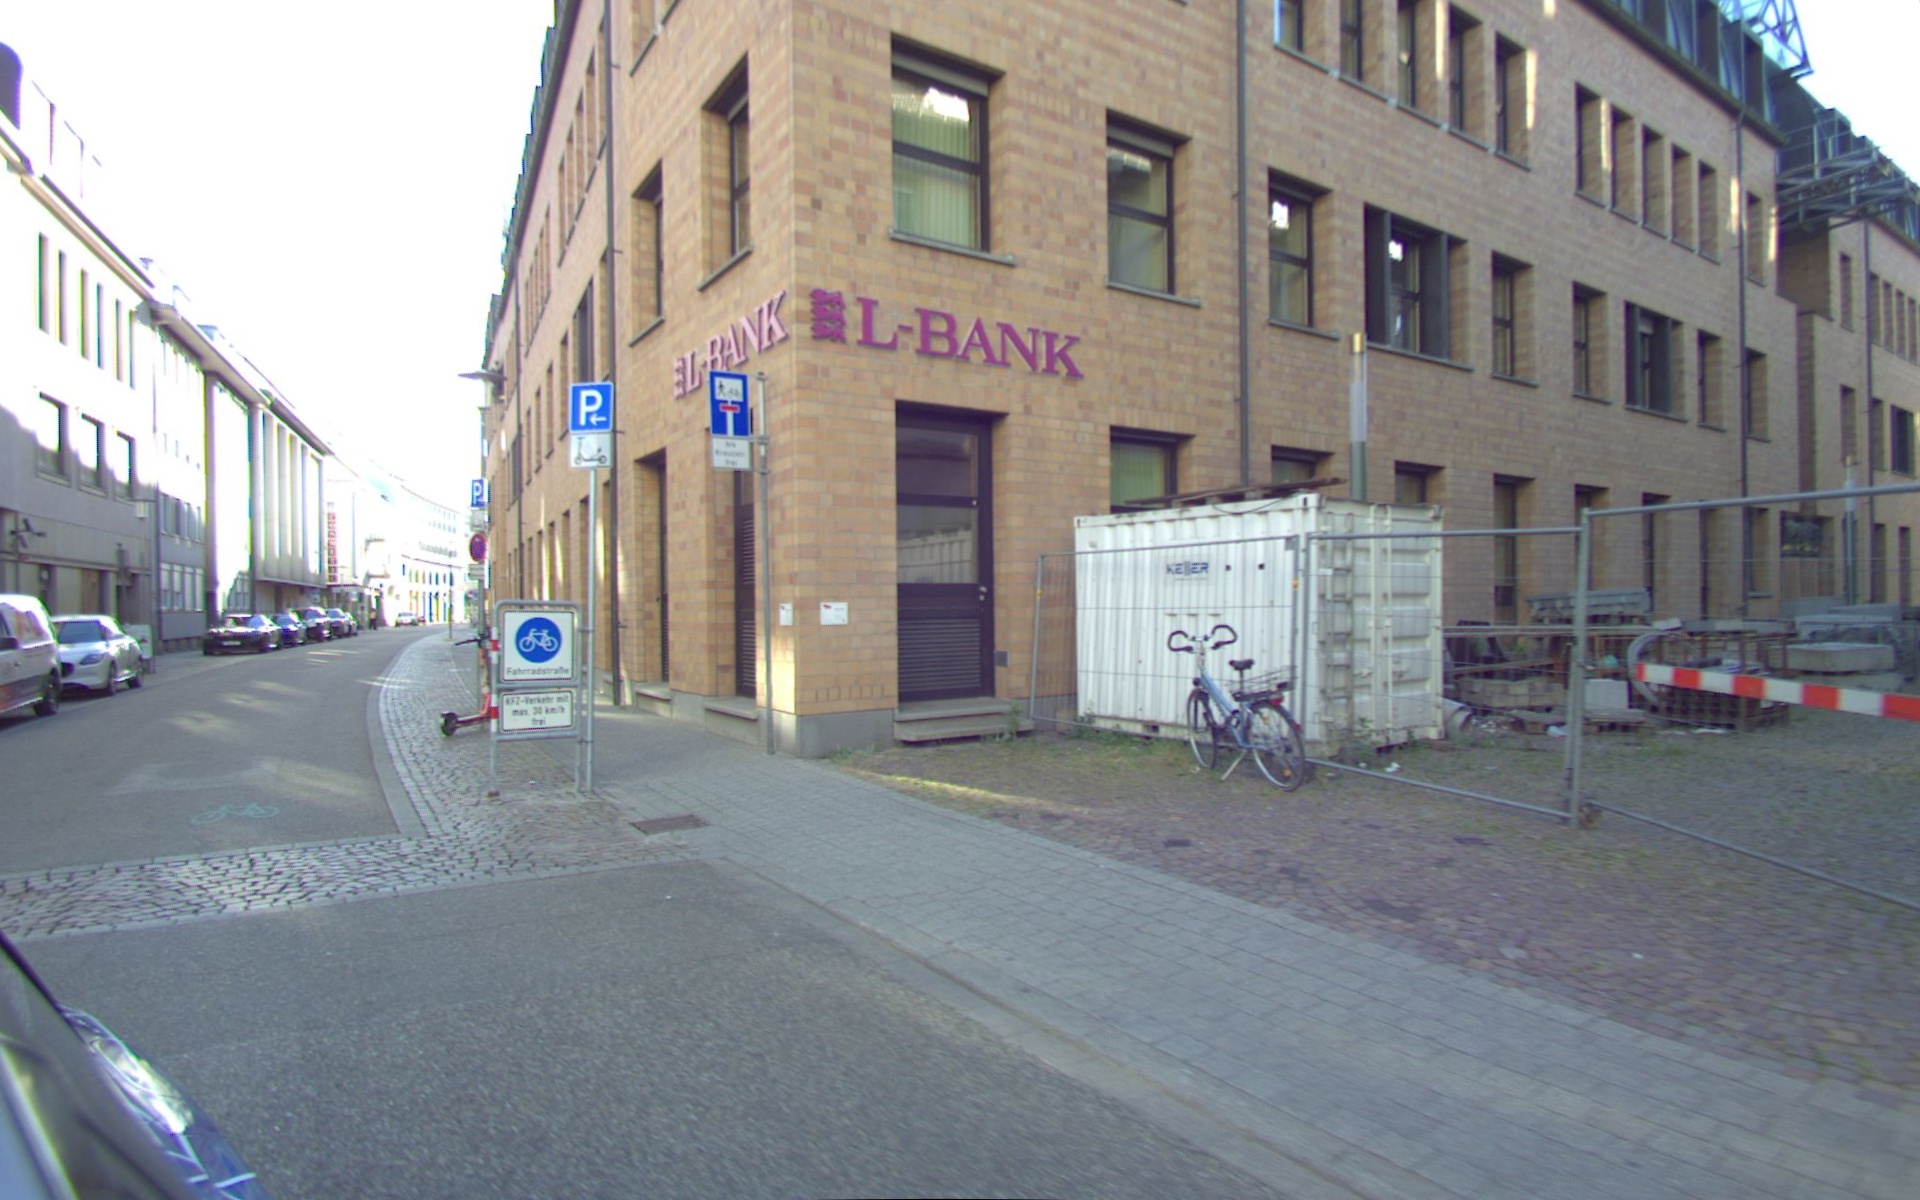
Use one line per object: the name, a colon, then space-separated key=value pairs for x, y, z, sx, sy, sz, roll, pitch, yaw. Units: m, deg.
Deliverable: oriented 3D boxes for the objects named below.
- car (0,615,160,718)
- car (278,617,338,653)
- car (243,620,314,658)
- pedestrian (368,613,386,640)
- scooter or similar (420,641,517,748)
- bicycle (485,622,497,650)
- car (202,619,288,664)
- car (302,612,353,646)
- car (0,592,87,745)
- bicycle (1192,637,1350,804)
car: x=-16.367 y=1.141 z=18.738 sx=1.747 sy=1.595 sz=3.868 roll=-5 pitch=2 yaw=-29
car: x=-31.184 y=1.635 z=48.517 sx=1.933 sy=1.547 sz=4.210 roll=-2 pitch=0 yaw=-26
car: x=-28.835 y=1.618 z=42.966 sx=1.933 sy=1.418 sz=4.210 roll=-2 pitch=0 yaw=-26
pedestrian: x=-44.632 y=2.031 z=77.441 sx=0.900 sy=2.029 sz=0.931 roll=-1 pitch=-1 yaw=43
scooter or similar: x=-6.040 y=1.132 z=12.499 sx=0.462 sy=1.234 sz=1.298 roll=0 pitch=-2 yaw=4
bicycle: x=-19.889 y=1.521 z=42.927 sx=0.424 sy=1.153 sz=1.695 roll=0 pitch=-1 yaw=-25
car: x=-26.096 y=1.475 z=37.067 sx=1.933 sy=1.418 sz=4.210 roll=-2 pitch=0 yaw=-26
car: x=-34.309 y=1.546 z=54.974 sx=1.933 sy=1.659 sz=4.210 roll=-2 pitch=0 yaw=-26
car: x=-13.328 y=0.922 z=13.125 sx=1.916 sy=1.875 sz=5.210 roll=-5 pitch=2 yaw=-29
bicycle: x=2.433 y=0.894 z=8.110 sx=0.424 sy=1.153 sz=1.595 roll=0 pitch=-1 yaw=-14
